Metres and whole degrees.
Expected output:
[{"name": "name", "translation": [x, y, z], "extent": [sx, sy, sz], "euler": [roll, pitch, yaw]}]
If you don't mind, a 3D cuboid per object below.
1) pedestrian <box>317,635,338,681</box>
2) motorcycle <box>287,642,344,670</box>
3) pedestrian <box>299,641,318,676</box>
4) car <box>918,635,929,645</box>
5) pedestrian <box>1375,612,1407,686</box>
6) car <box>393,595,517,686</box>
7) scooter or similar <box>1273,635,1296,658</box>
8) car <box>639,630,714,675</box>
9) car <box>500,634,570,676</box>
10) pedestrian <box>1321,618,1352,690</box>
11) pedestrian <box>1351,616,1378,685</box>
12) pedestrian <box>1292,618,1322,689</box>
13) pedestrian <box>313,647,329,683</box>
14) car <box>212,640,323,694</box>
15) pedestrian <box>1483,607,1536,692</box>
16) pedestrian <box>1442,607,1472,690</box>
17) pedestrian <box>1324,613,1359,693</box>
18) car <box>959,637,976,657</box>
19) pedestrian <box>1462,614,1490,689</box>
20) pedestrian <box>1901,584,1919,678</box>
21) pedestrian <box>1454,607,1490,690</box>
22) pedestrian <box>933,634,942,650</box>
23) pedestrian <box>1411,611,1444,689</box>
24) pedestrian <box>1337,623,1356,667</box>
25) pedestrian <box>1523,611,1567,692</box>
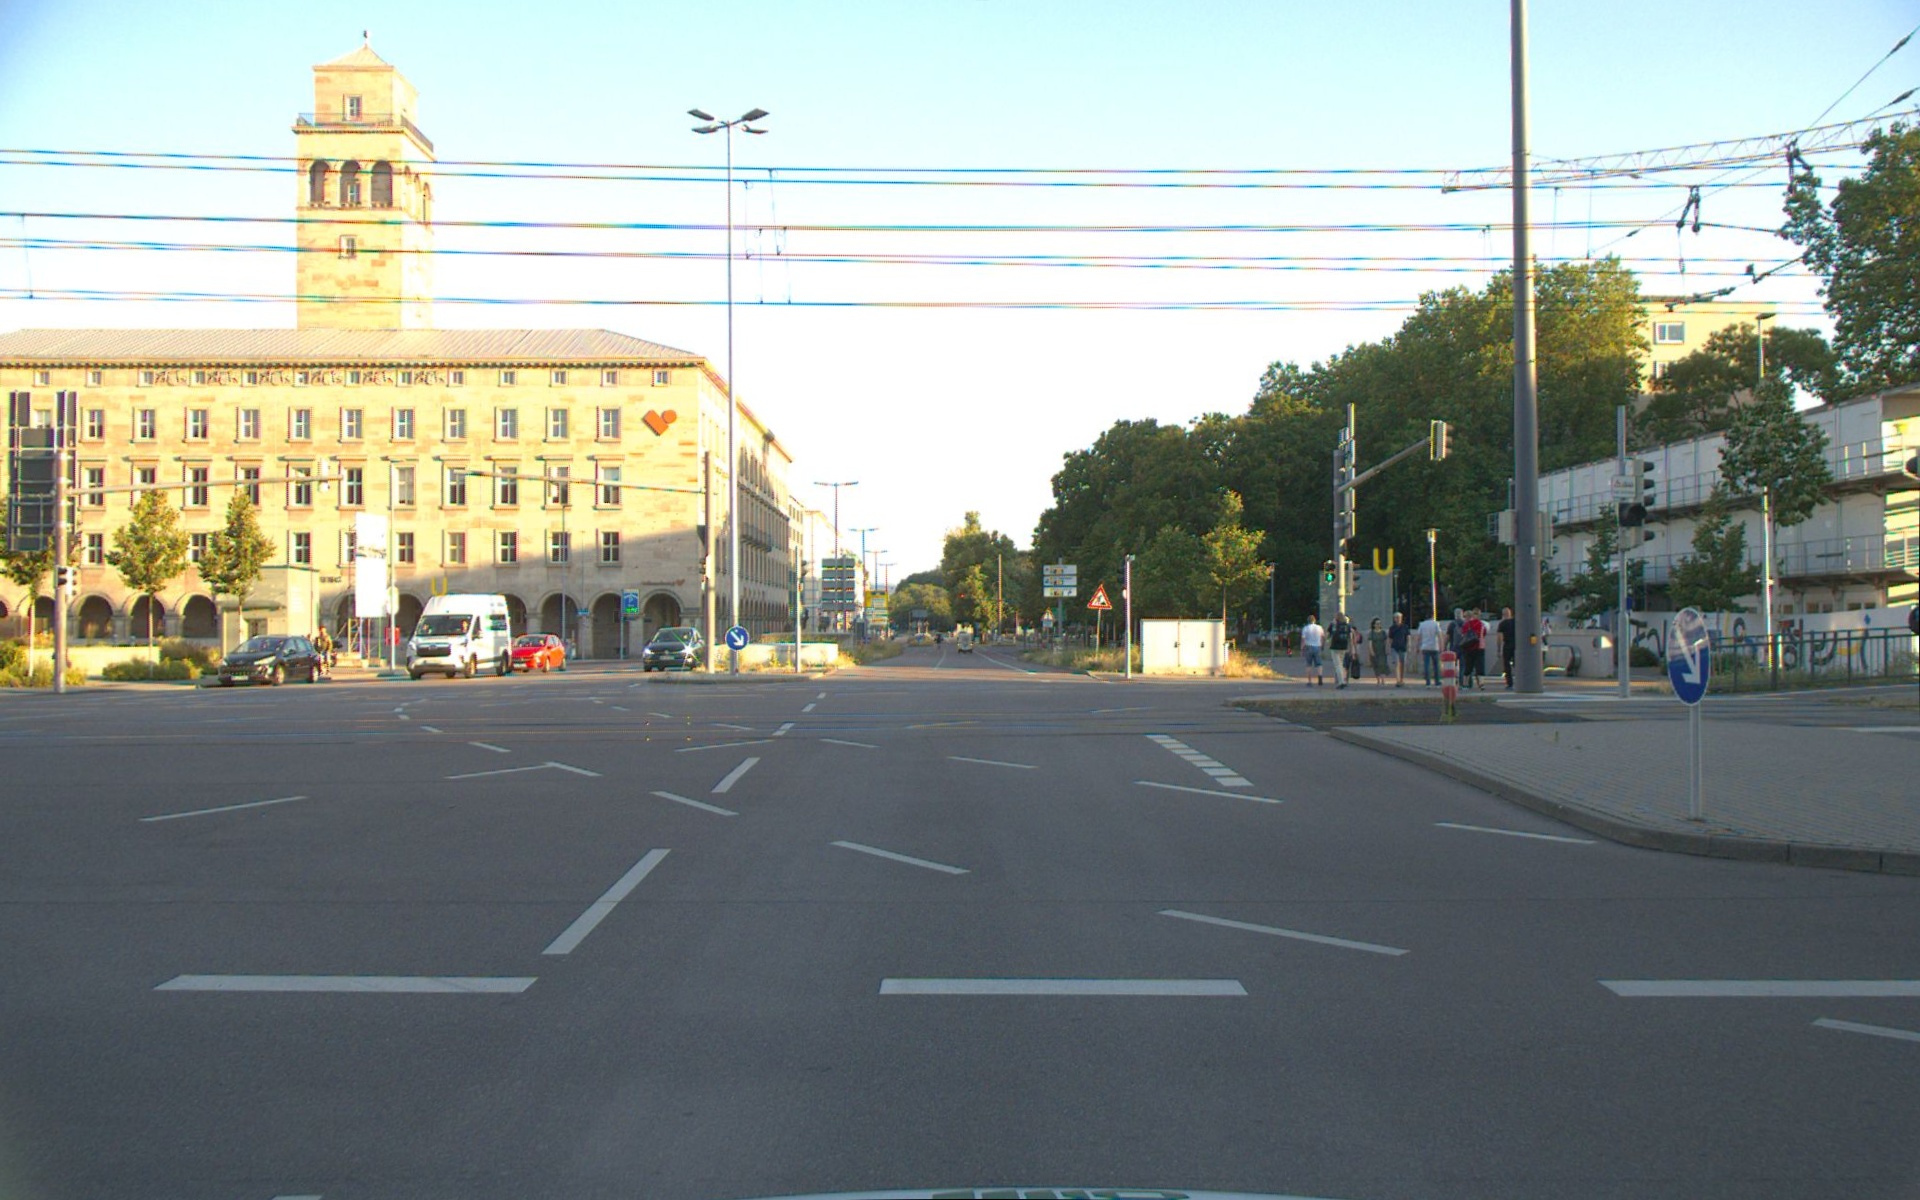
[{"name": "pedestrian", "translation": [-24.191, 2.216, 63.242], "extent": [0.609, 1.774, 0.459], "euler": [1, -2, -6]}, {"name": "motorcycle", "translation": [-28.936, 2.515, 74.280], "extent": [2.266, 1.217, 0.825], "euler": [0, 0, -8]}, {"name": "pedestrian", "translation": [-24.923, 2.243, 63.286], "extent": [0.496, 1.323, 0.700], "euler": [1, -2, -6]}, {"name": "car", "translation": [-4.802, 5.266, 218.524], "extent": [1.341, 1.256, 3.045], "euler": [0, 0, 1]}, {"name": "pedestrian", "translation": [10.559, 1.192, 40.531], "extent": [0.665, 1.788, 0.902], "euler": [-1, -1, 19]}, {"name": "car", "translation": [-16.551, 1.290, 54.603], "extent": [2.232, 2.825, 6.083], "euler": [-1, -1, 0]}, {"name": "scooter or similar", "translation": [17.759, 2.521, 90.626], "extent": [0.558, 1.224, 2.982], "euler": [0, -1, -2]}, {"name": "car", "translation": [-9.525, 1.746, 55.788], "extent": [1.785, 1.365, 4.000], "euler": [0, 0, 1]}, {"name": "car", "translation": [-16.499, 2.127, 64.382], "extent": [1.703, 1.513, 3.999], "euler": [0, 0, -1]}, {"name": "pedestrian", "translation": [9.325, 1.332, 40.956], "extent": [0.696, 1.755, 0.669], "euler": [-1, -1, 16]}, {"name": "pedestrian", "translation": [9.973, 1.236, 40.765], "extent": [0.548, 1.684, 0.902], "euler": [-1, -1, 19]}, {"name": "pedestrian", "translation": [8.591, 1.319, 40.959], "extent": [0.695, 1.755, 0.669], "euler": [0, -1, 14]}, {"name": "pedestrian", "translation": [-24.162, 2.457, 62.550], "extent": [0.412, 1.323, 0.459], "euler": [1, -2, -6]}, {"name": "car", "translation": [-21.309, 2.041, 51.040], "extent": [1.786, 1.492, 4.156], "euler": [0, 0, -2]}, {"name": "pedestrian", "translation": [12.073, 1.072, 36.350], "extent": [0.793, 1.823, 0.796], "euler": [0, -1, -20]}, {"name": "pedestrian", "translation": [11.043, 1.075, 36.757], "extent": [0.560, 1.823, 0.639], "euler": [0, -1, 13]}, {"name": "pedestrian", "translation": [8.504, 1.176, 36.871], "extent": [0.695, 1.755, 0.916], "euler": [0, -1, 9]}, {"name": "car", "translation": [0.649, 4.156, 148.046], "extent": [1.453, 1.725, 2.973], "euler": [-1, -1, -1]}, {"name": "pedestrian", "translation": [11.920, 1.186, 38.239], "extent": [0.560, 1.708, 0.639], "euler": [0, -1, 13]}, {"name": "pedestrian", "translation": [16.783, 0.535, 28.715], "extent": [0.559, 1.620, 0.536], "euler": [-1, -1, -1]}, {"name": "pedestrian", "translation": [11.028, 1.043, 35.666], "extent": [0.688, 1.765, 0.848], "euler": [-1, -1, 15]}, {"name": "pedestrian", "translation": [-2.427, 4.525, 177.873], "extent": [0.888, 1.700, 1.306], "euler": [0, 0, -2]}, {"name": "pedestrian", "translation": [10.693, 1.126, 37.823], "extent": [0.696, 1.755, 0.915], "euler": [-1, -1, 15]}, {"name": "pedestrian", "translation": [16.614, 1.920, 71.118], "extent": [0.652, 1.875, 0.713], "euler": [0, -1, 4]}, {"name": "pedestrian", "translation": [13.398, 1.175, 37.905], "extent": [0.788, 1.823, 0.801], "euler": [0, -1, 7]}]
